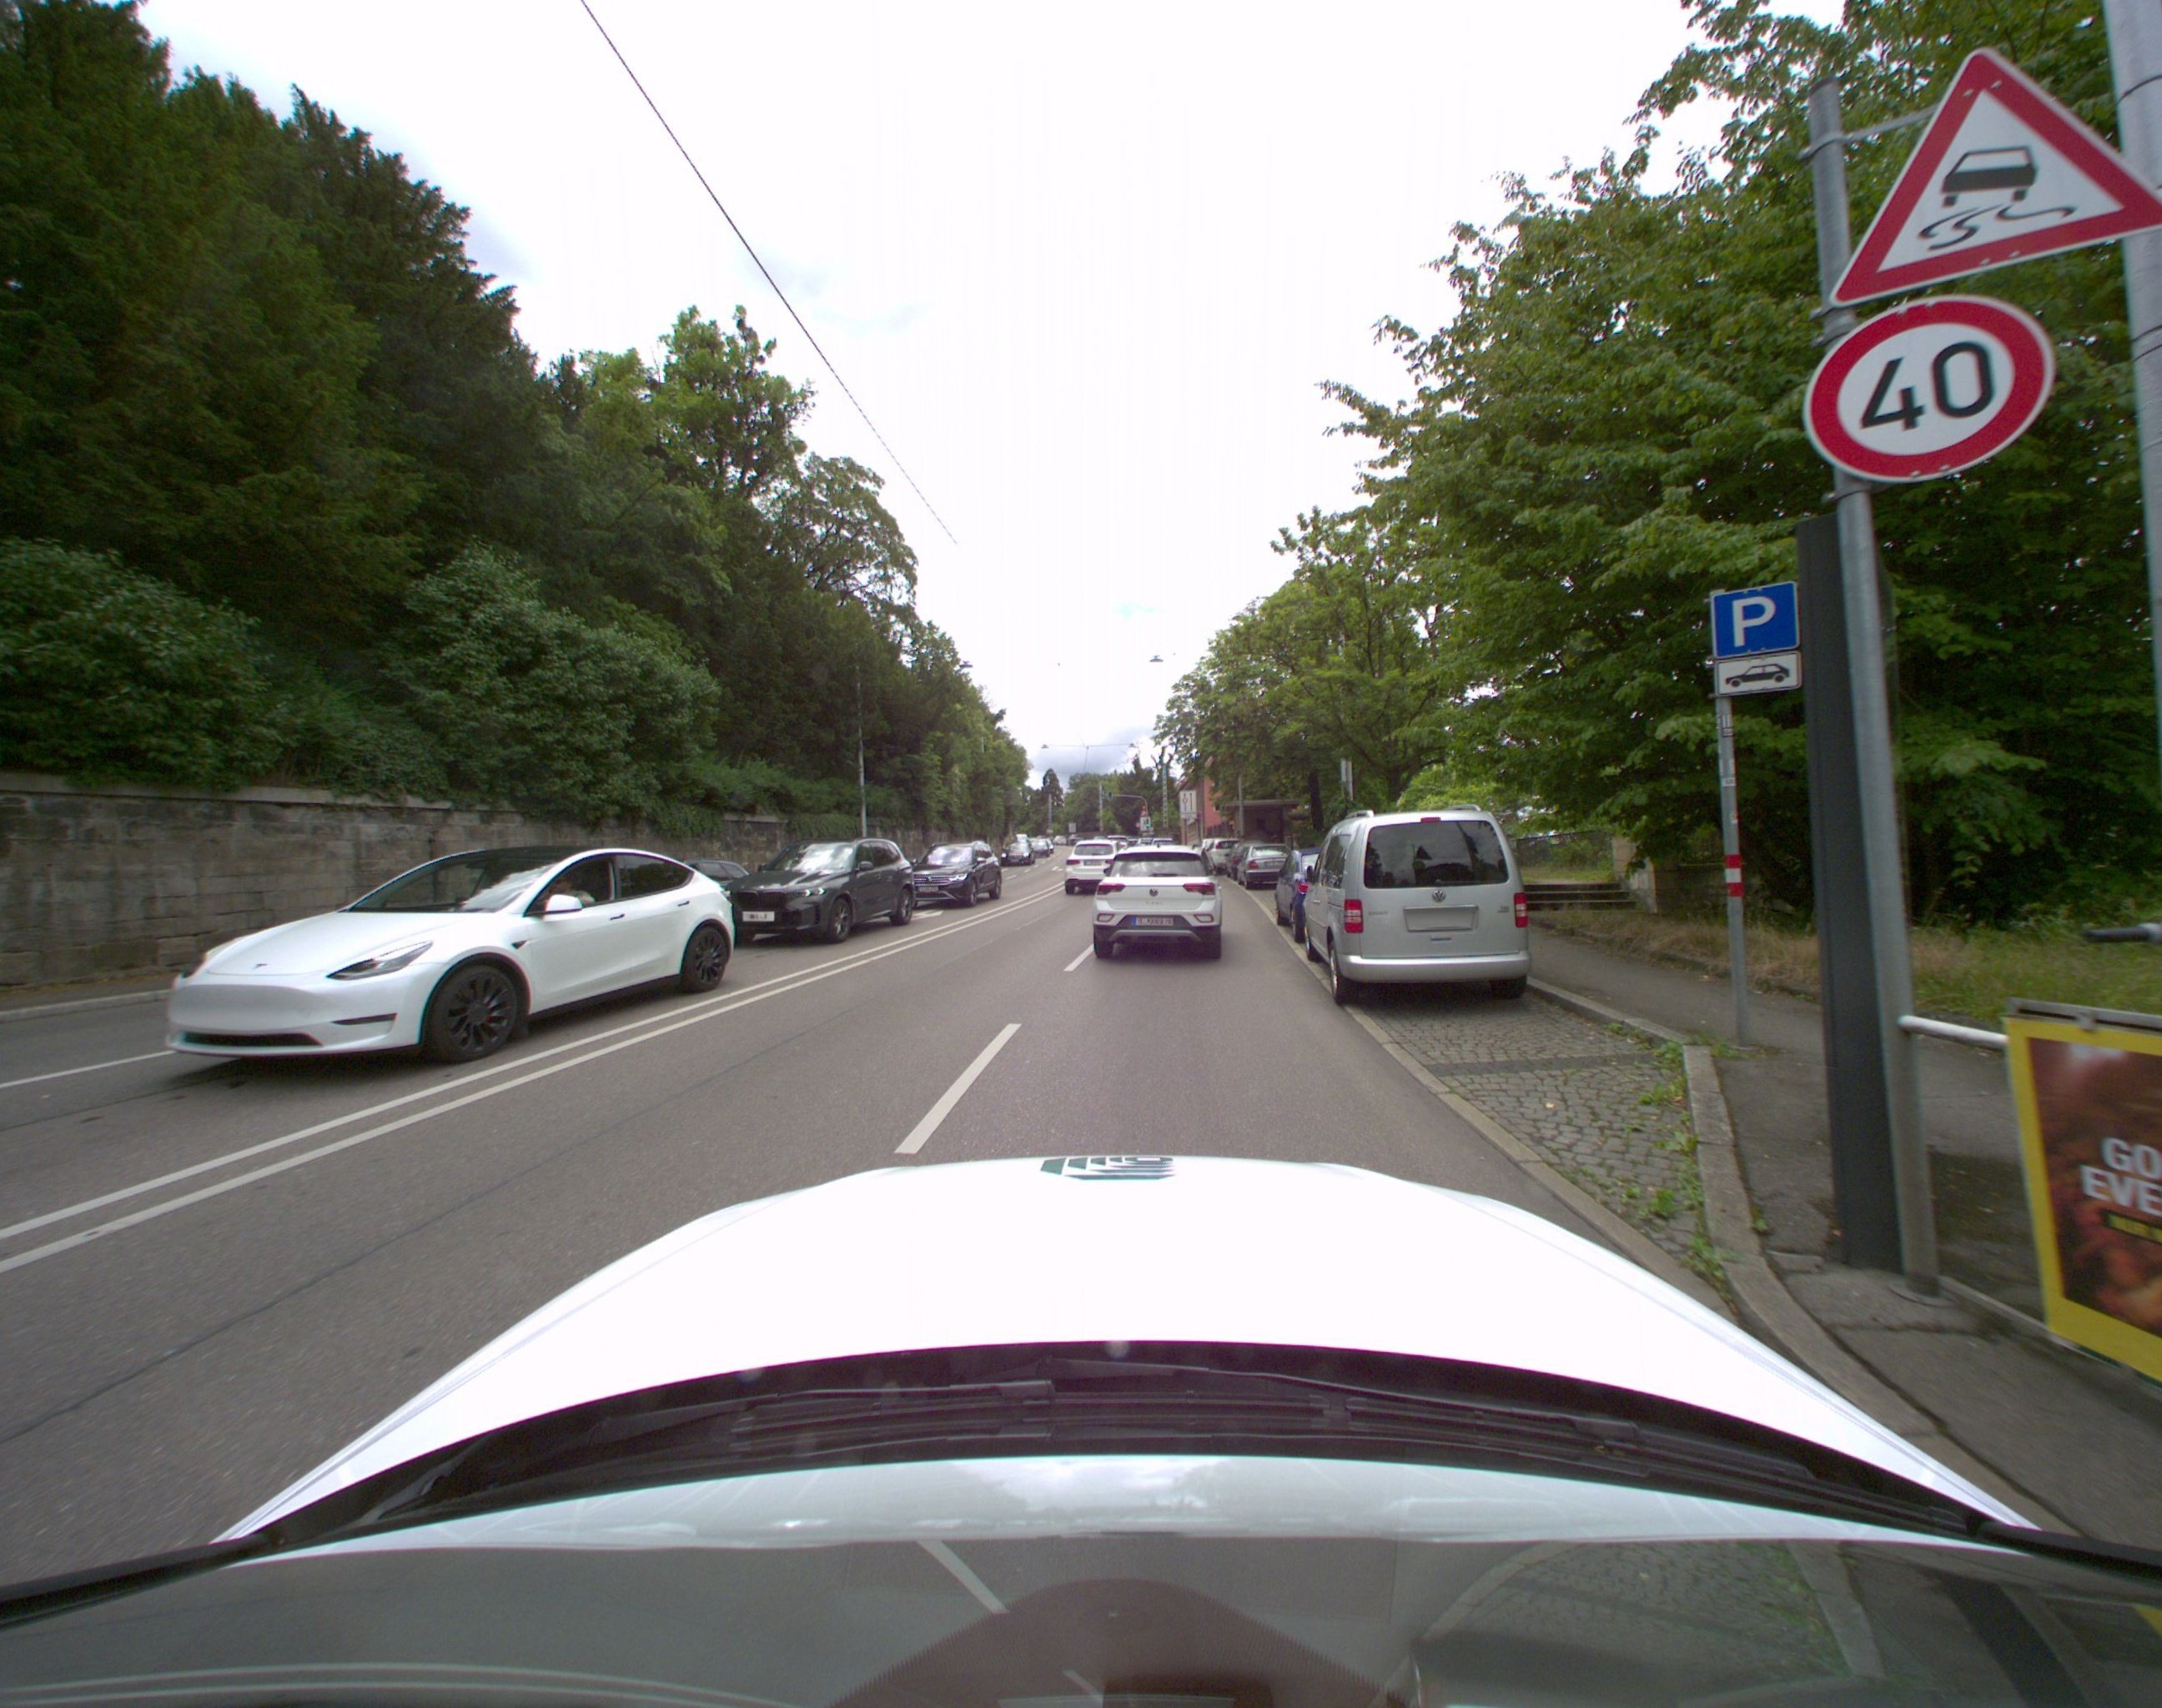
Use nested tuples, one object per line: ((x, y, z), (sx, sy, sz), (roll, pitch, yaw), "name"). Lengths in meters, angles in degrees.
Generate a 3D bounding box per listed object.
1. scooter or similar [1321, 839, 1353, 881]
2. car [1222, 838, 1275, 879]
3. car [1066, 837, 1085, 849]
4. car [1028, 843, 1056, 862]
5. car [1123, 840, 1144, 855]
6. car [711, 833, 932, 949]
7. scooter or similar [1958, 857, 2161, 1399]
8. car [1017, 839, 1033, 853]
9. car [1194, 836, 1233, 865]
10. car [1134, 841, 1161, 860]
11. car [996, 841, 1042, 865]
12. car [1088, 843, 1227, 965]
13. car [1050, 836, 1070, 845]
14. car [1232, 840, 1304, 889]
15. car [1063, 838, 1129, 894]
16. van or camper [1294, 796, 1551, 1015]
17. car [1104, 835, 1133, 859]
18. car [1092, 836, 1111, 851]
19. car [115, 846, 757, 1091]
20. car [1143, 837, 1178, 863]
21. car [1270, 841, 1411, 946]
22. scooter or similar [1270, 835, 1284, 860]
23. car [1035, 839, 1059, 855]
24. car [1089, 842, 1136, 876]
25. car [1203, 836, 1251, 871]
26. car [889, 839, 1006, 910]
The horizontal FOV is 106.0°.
((8.292, 0.170, 26.444), (0.558, 1.244, 2.004), (-6, 0, 8), "scooter or similar")
((6.590, 0.152, 32.314), (1.554, 1.422, 3.429), (-4, 0, 5), "car")
((-0.803, -1.582, 116.456), (1.994, 1.575, 4.135), (-1, 0, -11), "car")
((-3.163, -0.168, 66.818), (1.834, 1.436, 4.005), (-2, 1, 4), "car")
((5.271, -0.694, 82.270), (1.986, 1.450, 4.153), (-1, 0, 2), "car")
((-4.535, 0.560, 15.191), (1.949, 1.749, 4.889), (-2, 0, 8), "car")
((2.817, 0.672, 1.652), (0.514, 1.289, 1.489), (-3, 0, 6), "scooter or similar")
((-8.023, -1.090, 115.952), (1.891, 1.848, 4.386), (-3, 1, -7), "car")
((7.309, -0.224, 45.130), (1.668, 1.461, 4.370), (-3, 1, 4), "car")
((5.255, -0.276, 64.982), (1.985, 1.450, 4.154), (-1, 0, 3), "car")
((-3.873, -0.112, 52.030), (1.992, 1.409, 4.764), (-2, 1, 7), "car")
((1.313, 0.624, 12.468), (1.746, 1.555, 3.807), (1, 0, 11), "car")
((-3.346, -2.126, 128.211), (1.999, 1.450, 4.126), (-1, 0, -17), "car")
((6.063, 0.301, 26.836), (1.760, 1.398, 4.560), (-3, 0, 7), "car")
((0.543, 0.331, 25.723), (1.749, 1.609, 3.802), (1, 0, 6), "car")
((3.449, 0.434, 9.073), (1.688, 1.845, 4.254), (-1, 0, 10), "van or camper")
((2.646, -0.524, 57.158), (1.985, 1.556, 4.154), (0, 1, 3), "car")
((2.106, -1.076, 83.327), (1.775, 1.454, 3.998), (0, 1, -1), "car")
((-5.195, 0.723, 7.694), (1.827, 1.554, 4.799), (-1, 1, 7), "car")
((4.764, -0.238, 49.028), (1.984, 1.414, 4.156), (-2, 0, 4), "car")
((4.173, 0.550, 13.674), (1.588, 1.459, 3.951), (-3, 0, 8), "car")
((10.324, -0.349, 42.836), (0.514, 1.260, 1.171), (-4, 1, 7), "scooter or similar")
((-3.323, -0.688, 79.933), (1.835, 1.409, 4.460), (-2, 1, 3), "car")
((1.557, 0.211, 38.728), (1.984, 1.489, 4.157), (-2, 0, 5), "car")
((7.075, -0.080, 39.783), (1.708, 1.471, 4.042), (-5, 1, 3), "car")
((-3.457, 0.475, 22.066), (1.838, 1.651, 4.633), (-3, 0, 7), "car")
